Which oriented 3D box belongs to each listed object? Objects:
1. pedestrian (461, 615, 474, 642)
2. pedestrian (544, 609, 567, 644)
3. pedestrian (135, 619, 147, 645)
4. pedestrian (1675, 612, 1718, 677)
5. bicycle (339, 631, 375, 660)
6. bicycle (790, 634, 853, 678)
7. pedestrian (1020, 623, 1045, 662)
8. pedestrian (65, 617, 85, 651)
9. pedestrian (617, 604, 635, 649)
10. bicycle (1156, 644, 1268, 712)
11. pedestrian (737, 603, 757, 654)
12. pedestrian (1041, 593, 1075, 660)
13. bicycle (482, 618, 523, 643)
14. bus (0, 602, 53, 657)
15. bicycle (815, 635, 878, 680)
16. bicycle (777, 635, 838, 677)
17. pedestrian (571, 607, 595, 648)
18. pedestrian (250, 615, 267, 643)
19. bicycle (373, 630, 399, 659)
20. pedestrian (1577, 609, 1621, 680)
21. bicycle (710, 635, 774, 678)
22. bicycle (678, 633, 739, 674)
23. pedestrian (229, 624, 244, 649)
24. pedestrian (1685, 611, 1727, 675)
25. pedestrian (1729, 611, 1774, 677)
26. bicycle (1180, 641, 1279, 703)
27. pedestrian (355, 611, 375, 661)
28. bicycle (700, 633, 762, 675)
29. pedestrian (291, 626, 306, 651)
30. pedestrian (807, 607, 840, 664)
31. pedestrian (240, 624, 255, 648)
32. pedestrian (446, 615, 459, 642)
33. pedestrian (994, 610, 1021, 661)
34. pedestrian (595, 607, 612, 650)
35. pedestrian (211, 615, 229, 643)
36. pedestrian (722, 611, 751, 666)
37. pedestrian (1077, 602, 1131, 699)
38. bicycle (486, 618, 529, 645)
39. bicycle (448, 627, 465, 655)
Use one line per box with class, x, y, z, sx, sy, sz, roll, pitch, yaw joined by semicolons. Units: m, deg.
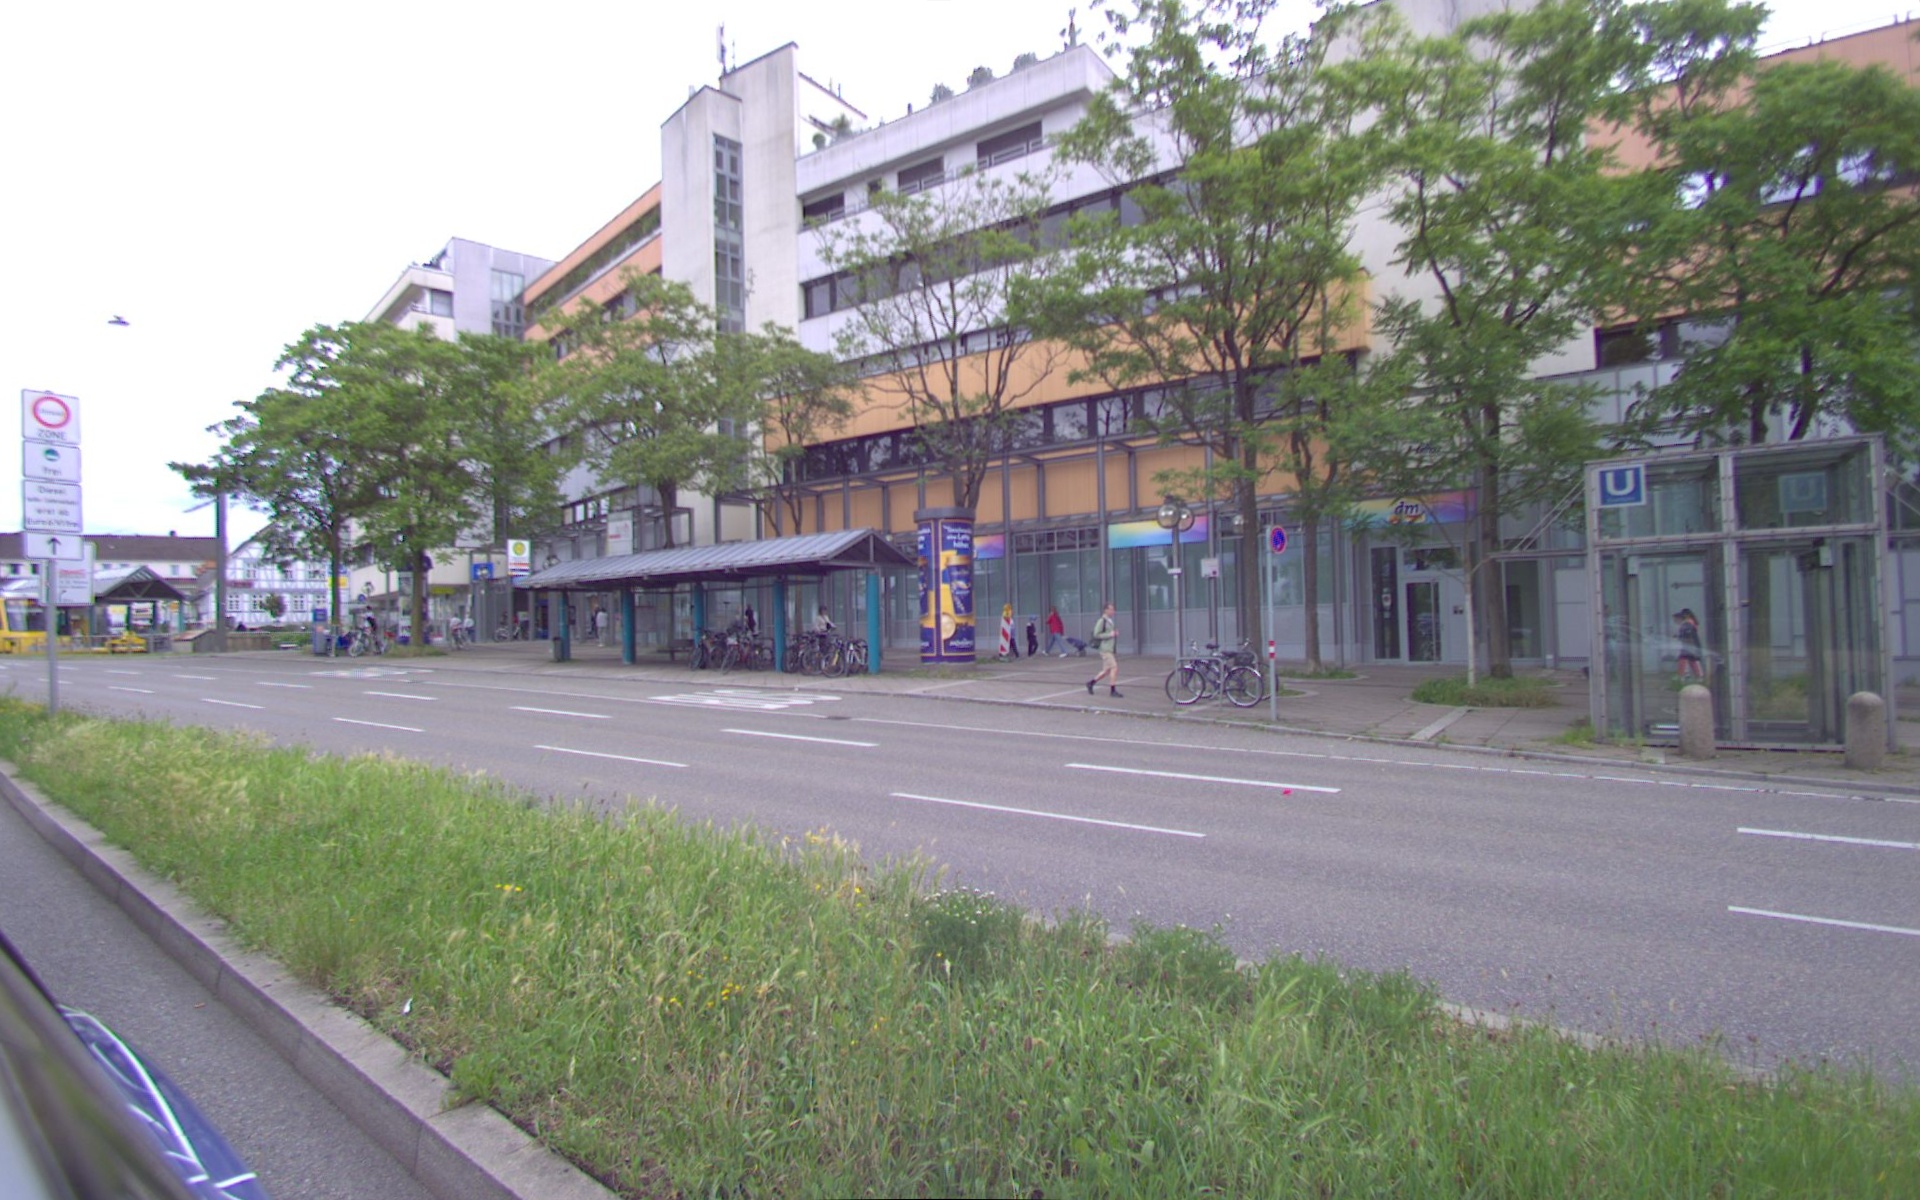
pedestrian;-27.557;1.572;56.633;0.548;1.506;0.454;1;-2;-41
pedestrian;-19.619;1.297;49.122;0.752;1.695;0.755;-1;-2;41
pedestrian;-64.273;2.523;79.448;0.731;2.029;0.940;1;-2;-39
pedestrian;15.893;0.950;21.855;0.694;1.385;0.578;-1;-2;34
bicycle;-23.613;1.765;39.655;0.585;1.085;2.042;0;-1;-12
bicycle;-3.613;1.457;26.595;0.549;1.048;1.714;-2;0;38
pedestrian;2.179;1.276;30.518;0.620;1.190;0.418;-1;-2;31
pedestrian;-53.216;2.025;60.845;0.663;2.029;0.632;-1;-2;21
pedestrian;-14.959;1.187;45.288;0.558;2.029;0.611;1;-2;-44
bicycle;4.368;1.323;17.600;0.802;1.068;1.739;0;-1;-40
pedestrian;-8.505;1.141;40.431;0.558;2.029;0.611;1;-2;-44
pedestrian;3.043;0.805;31.355;0.791;2.029;0.703;-1;0;31
bicycle;-26.094;1.734;57.770;2.106;1.377;0.621;-1;0;-24
bus;-55.980;1.684;58.621;8.470;3.006;2.530;-1;-2;29
bicycle;-2.904;1.473;26.062;0.549;1.048;1.714;-2;0;38
bicycle;-4.137;1.513;27.562;0.549;1.048;1.714;-2;-1;38
pedestrian;-17.335;1.263;46.517;0.752;1.859;0.755;-1;-2;41
pedestrian;-51.804;2.114;74.712;0.867;2.029;1.010;1;-2;-44
bicycle;-22.746;1.752;40.113;0.584;1.085;2.044;0;-1;-21
pedestrian;13.764;0.951;21.788;0.754;1.491;0.524;-1;-2;36
bicycle;-5.960;1.528;27.724;0.549;1.048;1.714;-2;1;38
bicycle;-7.233;1.534;29.151;0.549;1.048;1.714;-2;0;38
pedestrian;-45.964;2.318;64.268;0.581;1.554;0.570;-1;-2;32
pedestrian;16.404;0.943;22.274;0.694;1.385;0.578;-1;-2;34
pedestrian;16.976;0.935;21.718;0.694;1.385;0.578;-1;-2;34
bicycle;4.984;1.311;18.791;1.737;1.074;0.542;-2;-1;45
pedestrian;-27.450;1.657;46.670;0.608;2.325;0.583;-1;-2;39
bicycle;-6.454;1.511;28.586;0.549;1.048;1.714;-2;1;38
pedestrian;-41.855;2.435;64.048;0.581;1.554;0.570;-1;-2;32
pedestrian;-4.059;1.059;30.128;0.721;1.662;0.669;-1;-1;37
pedestrian;-45.593;2.313;64.768;0.581;1.554;0.570;-1;-2;32
pedestrian;-28.179;1.577;56.184;0.548;1.506;0.454;1;-2;-41
pedestrian;1.408;1.057;30.180;0.620;1.515;0.563;-1;-2;31
pedestrian;-15.472;1.241;43.909;0.639;1.823;0.761;0;-2;-16
pedestrian;-54.297;2.147;74.257;0.867;2.029;1.010;1;-2;-44
pedestrian;-7.415;1.270;33.579;0.769;1.800;0.525;-1;-2;33
pedestrian;2.798;0.968;19.666;0.916;1.846;0.533;-1;-2;25
bicycle;-24.946;1.724;55.791;2.107;1.385;0.621;-1;0;-31
bicycle;-21.350;1.706;42.932;0.584;1.134;2.044;1;-1;-26
